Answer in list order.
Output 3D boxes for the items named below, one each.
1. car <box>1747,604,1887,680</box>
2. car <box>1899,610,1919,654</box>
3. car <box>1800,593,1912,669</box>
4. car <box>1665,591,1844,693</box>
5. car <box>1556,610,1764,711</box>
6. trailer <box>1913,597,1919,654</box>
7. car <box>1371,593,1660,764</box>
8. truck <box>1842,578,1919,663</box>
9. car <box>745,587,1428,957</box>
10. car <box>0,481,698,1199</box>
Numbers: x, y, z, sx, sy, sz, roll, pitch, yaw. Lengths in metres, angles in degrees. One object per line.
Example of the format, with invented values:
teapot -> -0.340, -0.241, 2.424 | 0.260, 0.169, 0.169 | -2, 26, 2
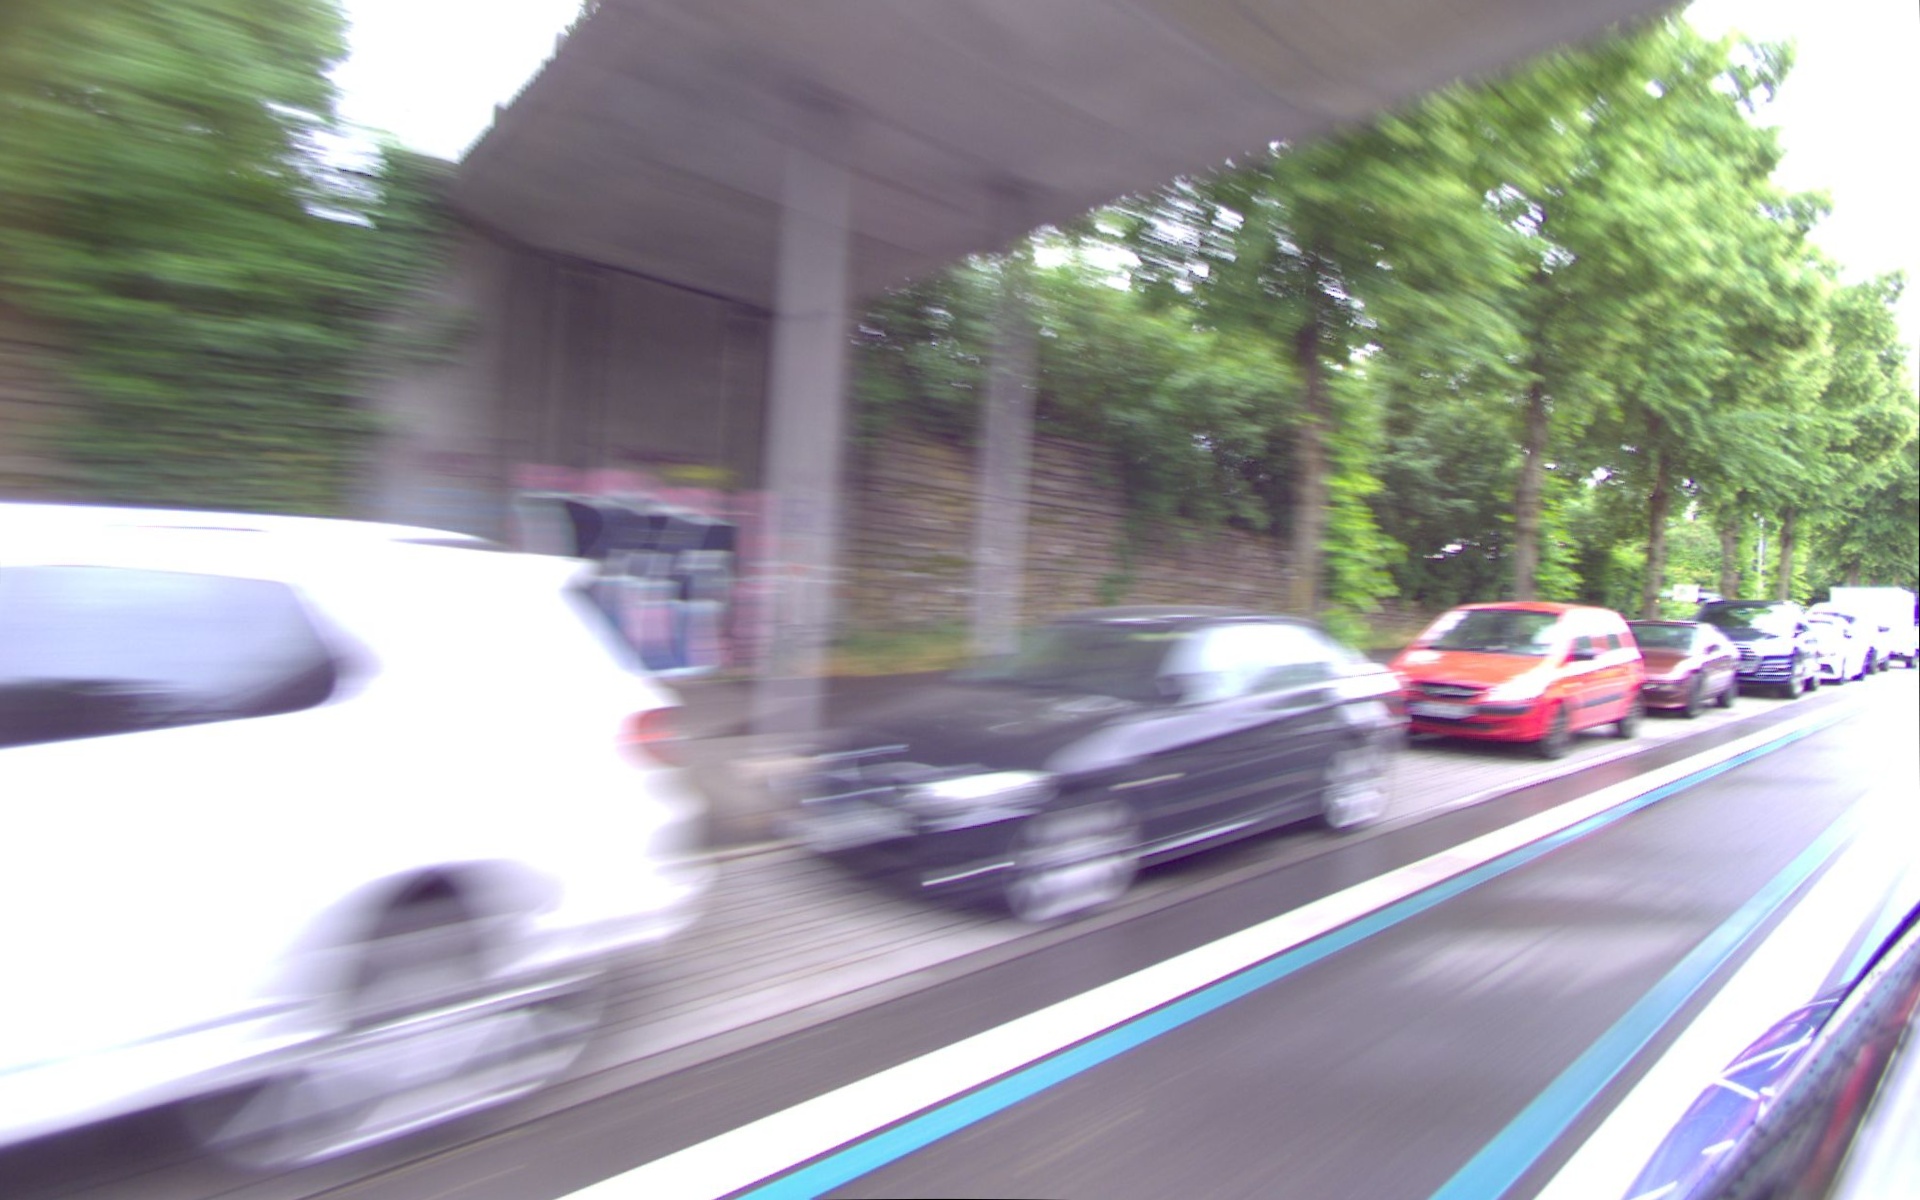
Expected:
car -> 18.782, 0.878, 22.099 | 4.537, 1.444, 1.663 | 2, 0, -41
car -> 36.860, 1.231, 38.336 | 1.755, 1.605, 4.346 | 2, 0, 42
car -> 23.723, 0.794, 26.750 | 4.270, 1.813, 1.725 | 2, 0, -42
car -> 14.540, 0.705, 18.420 | 4.566, 1.580, 1.995 | 2, 0, -45
car -> 10.262, 0.815, 14.717 | 4.112, 1.205, 1.628 | 2, 0, -43
trailer -> 40.561, 1.082, 41.880 | 3.502, 2.298, 1.348 | 2, -1, -42
car -> 5.980, 0.692, 10.741 | 3.562, 1.485, 1.561 | 0, 1, -41
truck -> 27.952, 0.613, 30.377 | 3.931, 2.363, 1.721 | 2, 0, -42
car -> 1.048, 0.658, 6.125 | 4.375, 1.411, 1.675 | -1, 2, -42
car -> -2.936, 0.553, 2.395 | 4.189, 1.639, 1.715 | 0, 2, -43
